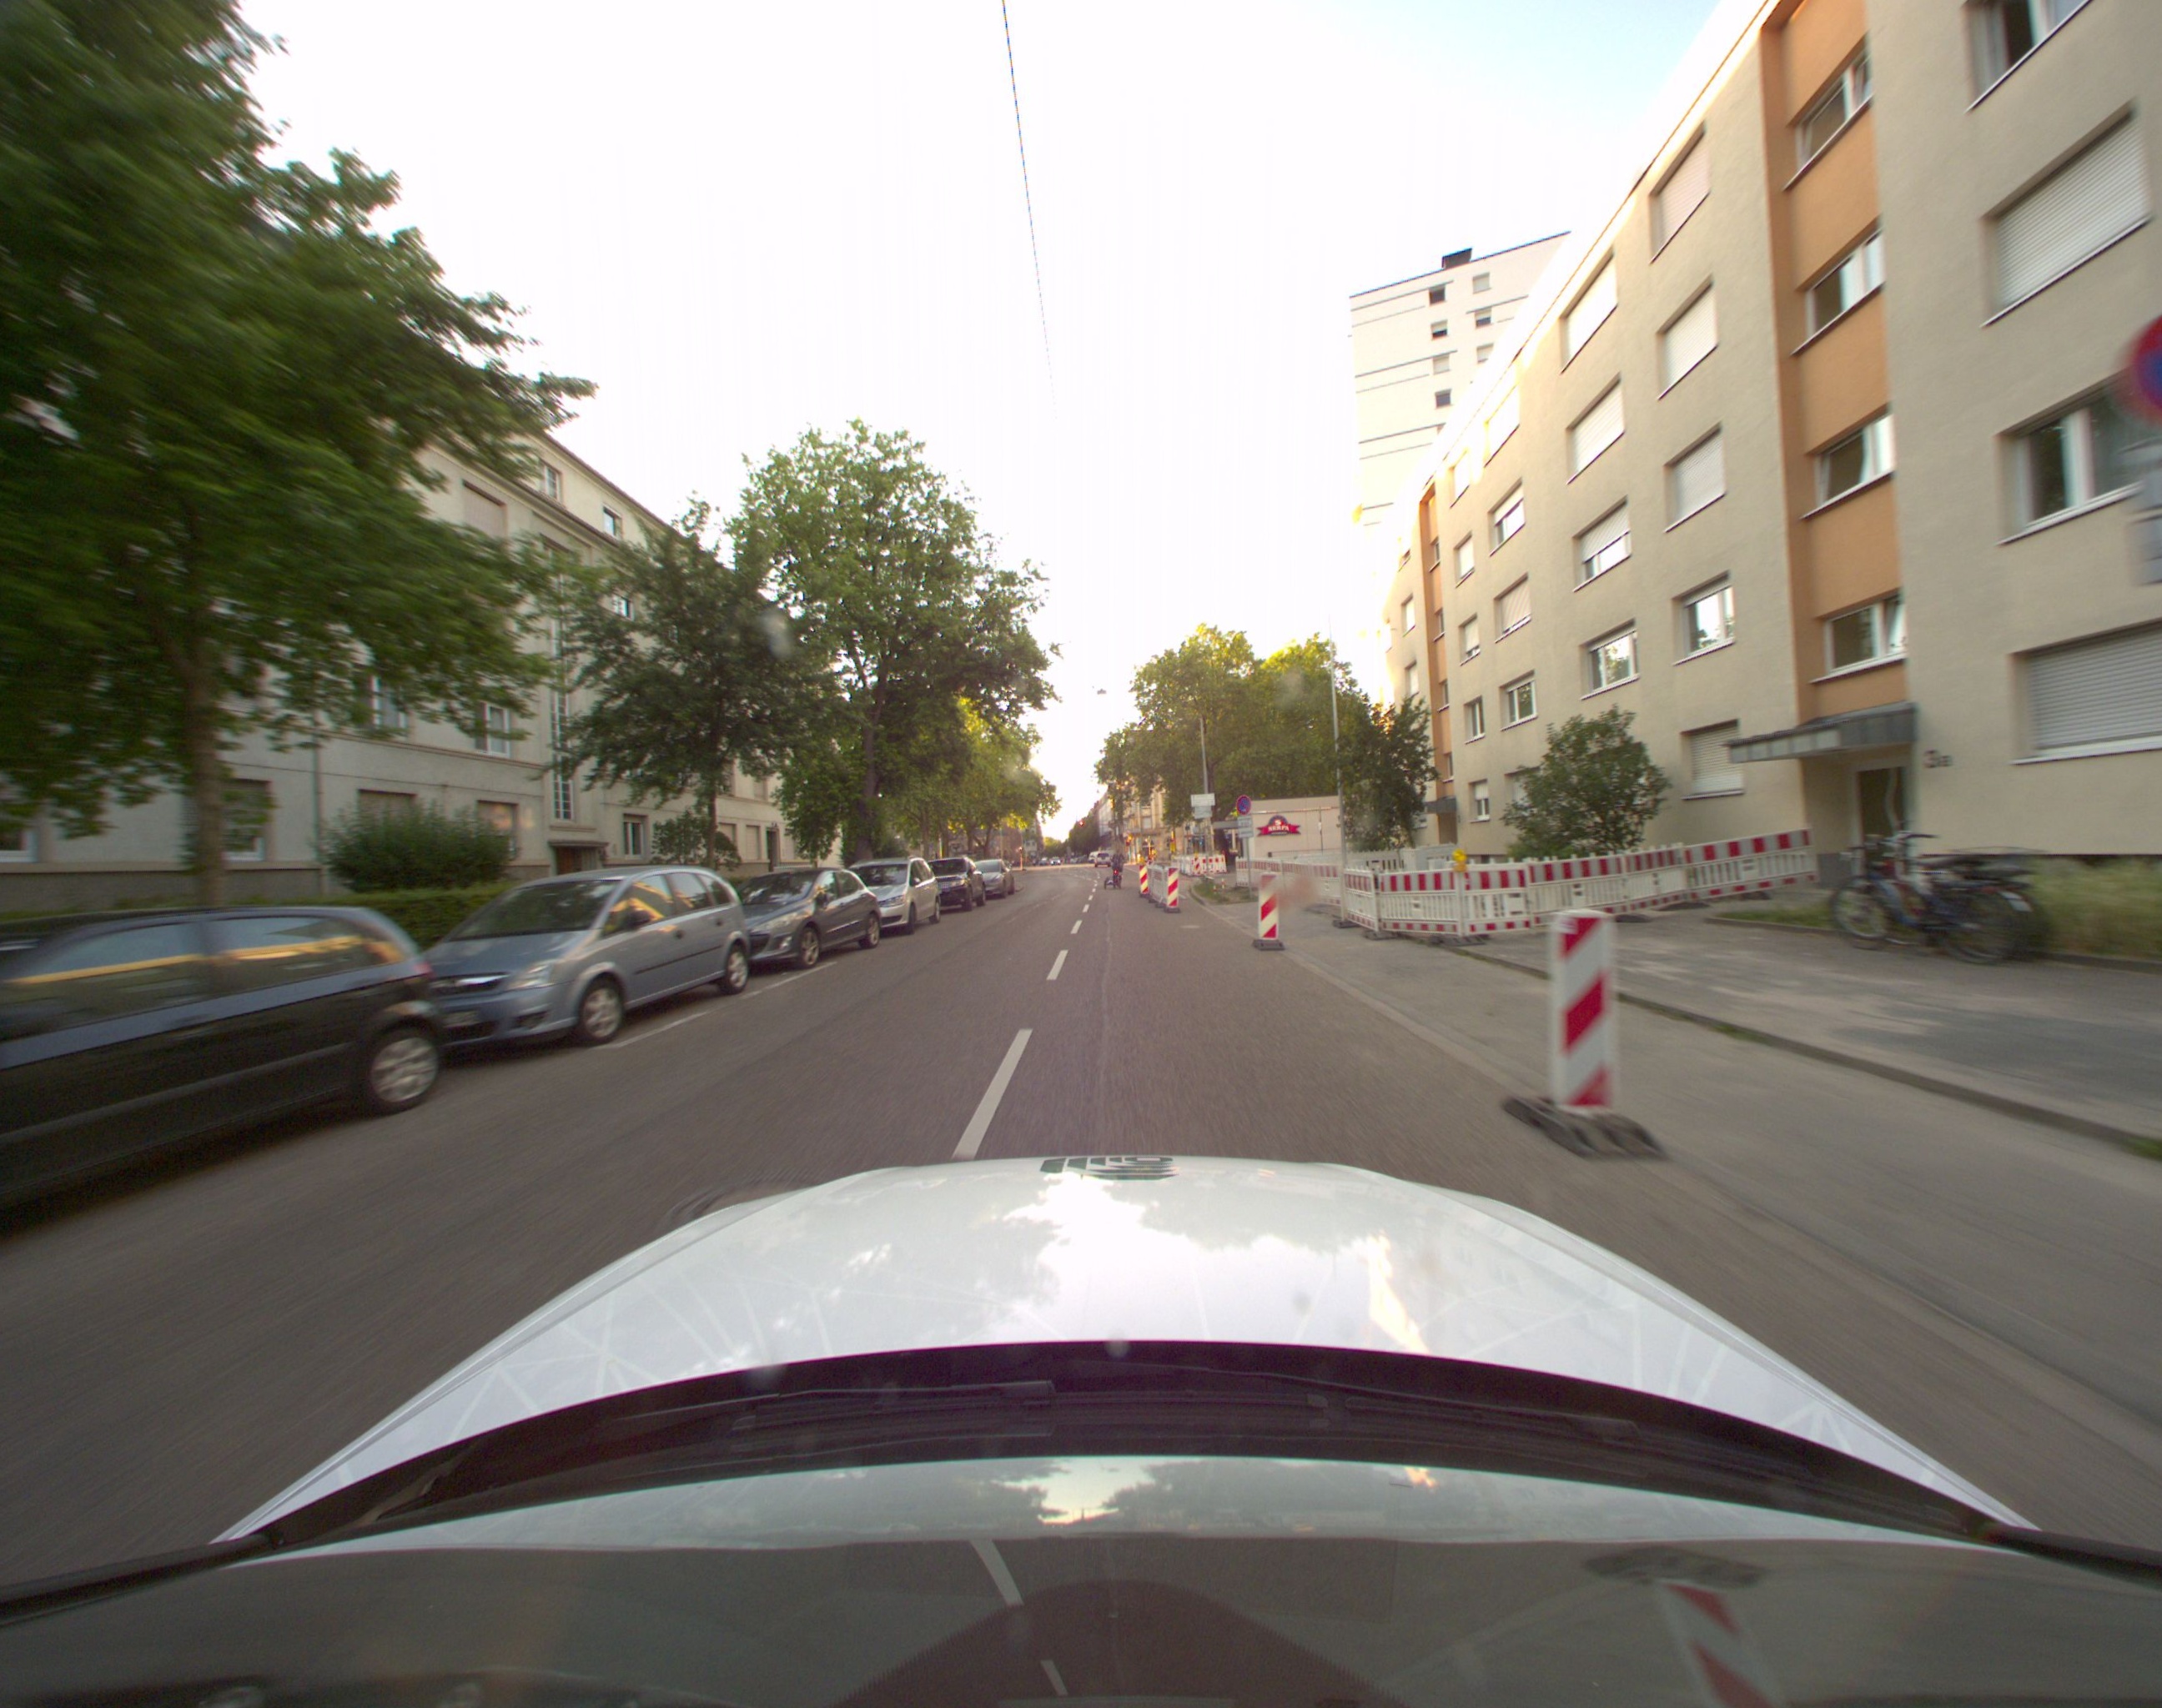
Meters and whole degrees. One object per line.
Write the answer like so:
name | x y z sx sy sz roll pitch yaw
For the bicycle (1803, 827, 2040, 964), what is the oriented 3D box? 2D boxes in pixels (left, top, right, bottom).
bicycle | 8.450 0.381 8.324 0.396 1.222 1.911 -3 0 0

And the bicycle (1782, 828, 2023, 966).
bicycle | 8.173 0.389 8.240 0.450 1.222 1.911 -3 0 0

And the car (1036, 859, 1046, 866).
car | -9.201 1.967 186.758 1.991 1.651 3.813 -1 -1 -6

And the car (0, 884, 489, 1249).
car | -5.423 1.030 4.182 1.700 1.452 3.845 -6 0 2

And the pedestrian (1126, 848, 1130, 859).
pedestrian | 8.281 -0.061 144.617 0.590 1.886 0.648 -3 0 4

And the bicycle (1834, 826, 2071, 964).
bicycle | 8.697 0.372 8.250 0.396 1.222 1.826 -3 0 0

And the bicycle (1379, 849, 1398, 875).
bicycle | 12.574 0.318 33.262 0.539 0.968 1.825 -3 0 25

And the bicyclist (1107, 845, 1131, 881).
bicyclist | 1.748 0.419 37.660 0.936 1.581 1.146 -6 -1 1

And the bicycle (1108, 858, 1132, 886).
bicycle | 1.790 0.836 37.640 0.936 1.172 2.359 -6 -1 1

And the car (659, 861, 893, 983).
car | -4.715 0.962 13.366 1.724 1.497 4.278 -5 0 6

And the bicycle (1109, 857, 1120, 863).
bicycle | 6.306 1.127 153.555 1.908 0.968 0.546 -3 0 0

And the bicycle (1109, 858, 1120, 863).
bicycle | 6.348 1.243 153.833 1.908 0.968 0.546 -3 0 0

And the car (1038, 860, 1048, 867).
car | -9.071 2.289 194.549 1.991 1.651 3.813 -1 -1 -6

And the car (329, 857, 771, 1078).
car | -5.057 0.924 8.594 1.701 1.600 4.118 -6 0 2

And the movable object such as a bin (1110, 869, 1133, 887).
movable object such as a bin | 1.763 1.056 35.959 0.936 0.689 0.993 -6 -1 1

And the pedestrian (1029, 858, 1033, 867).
pedestrian | -11.200 1.851 182.424 0.590 1.886 0.586 -3 0 7

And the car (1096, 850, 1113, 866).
car | 2.765 0.508 97.787 1.860 1.815 4.000 -4 0 1

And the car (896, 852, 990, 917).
car | -4.296 0.893 26.109 1.946 1.719 4.772 -5 0 1

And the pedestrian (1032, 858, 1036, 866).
pedestrian | -10.537 1.773 182.460 0.590 1.886 0.554 -3 0 7

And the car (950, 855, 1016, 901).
car | -3.986 0.926 33.947 1.946 1.616 4.607 -5 0 2

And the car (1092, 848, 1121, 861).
car | 5.078 0.166 160.114 5.855 2.288 2.047 -3 0 -41

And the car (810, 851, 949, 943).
car | -4.461 0.885 18.853 1.840 1.690 4.858 -5 0 0

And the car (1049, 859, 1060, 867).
car | -5.396 1.819 164.849 1.779 1.651 3.813 -1 -1 -6
